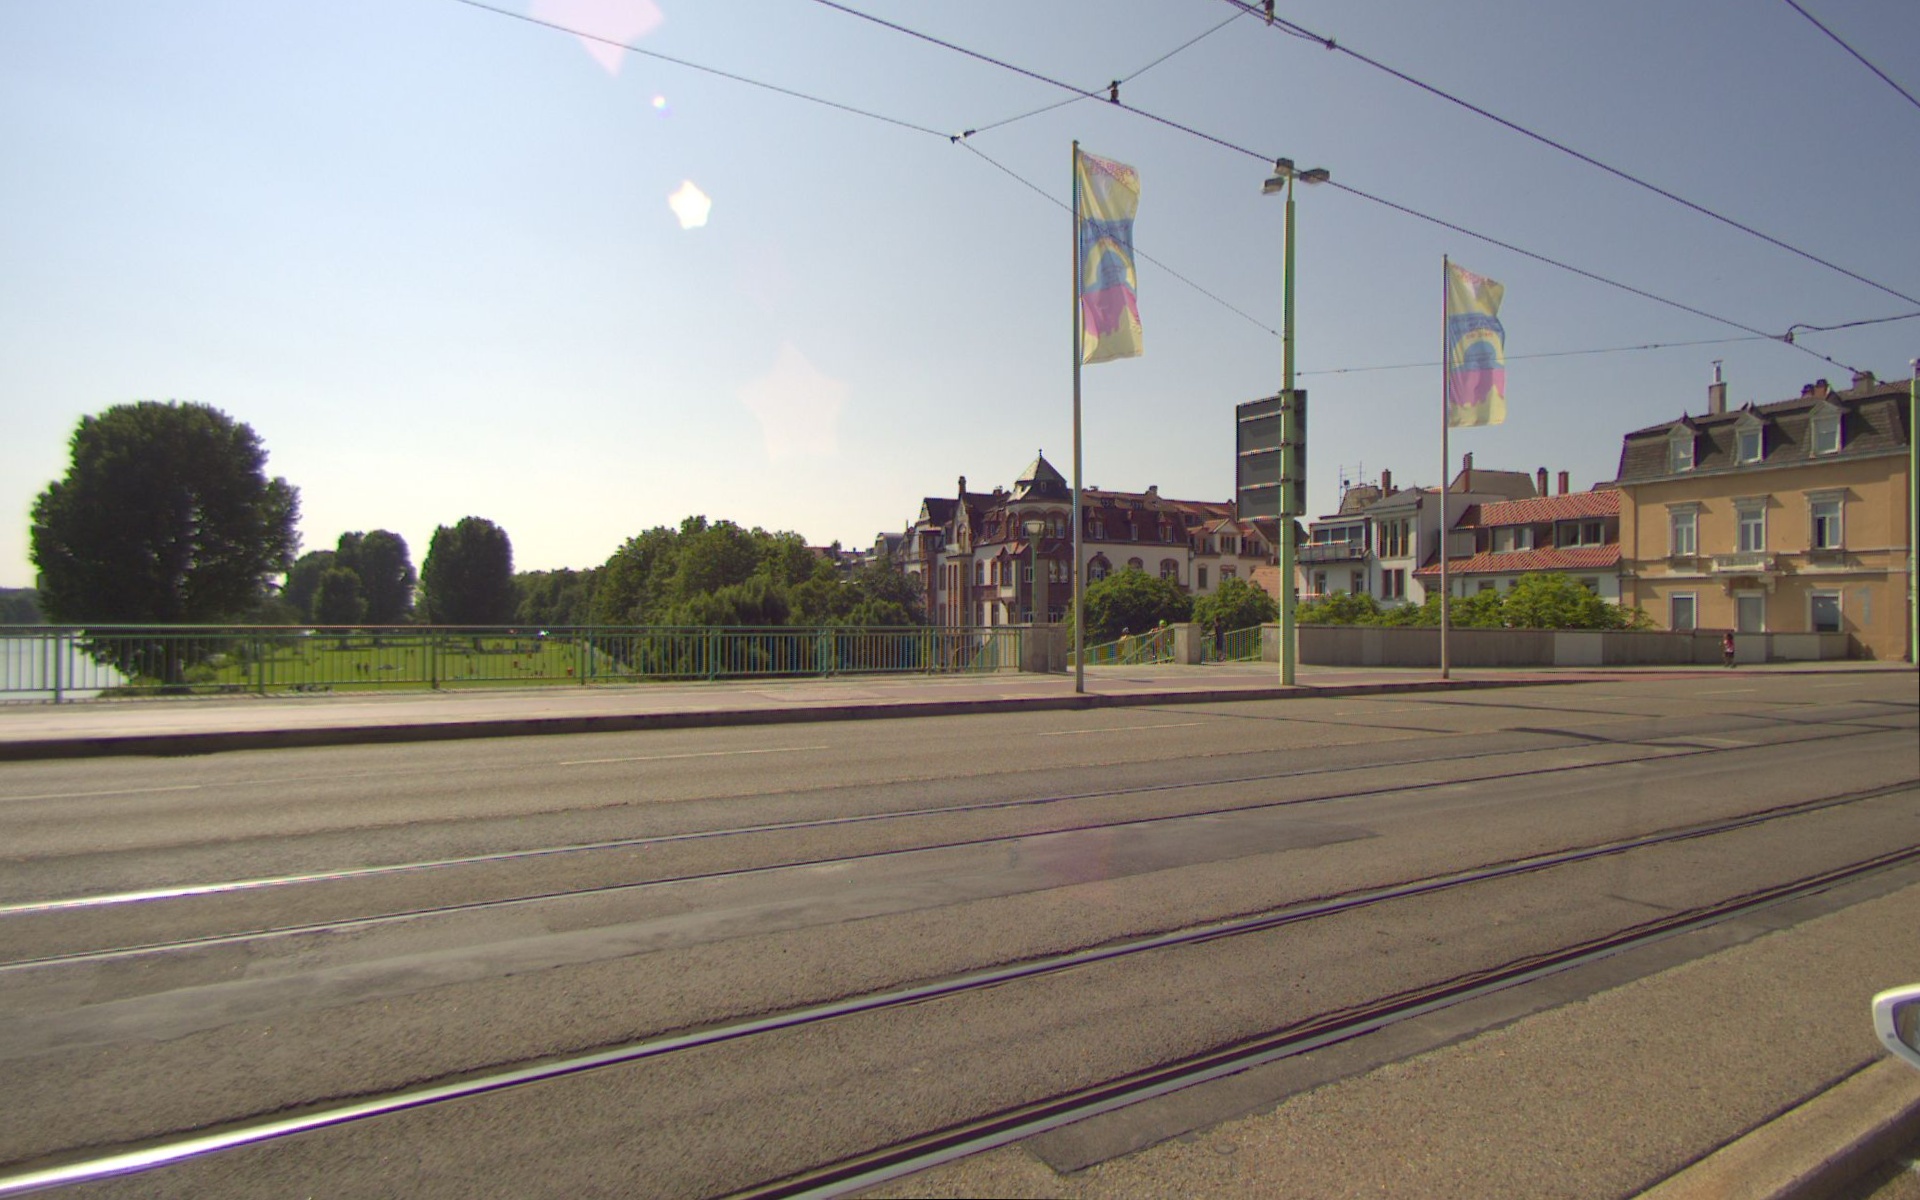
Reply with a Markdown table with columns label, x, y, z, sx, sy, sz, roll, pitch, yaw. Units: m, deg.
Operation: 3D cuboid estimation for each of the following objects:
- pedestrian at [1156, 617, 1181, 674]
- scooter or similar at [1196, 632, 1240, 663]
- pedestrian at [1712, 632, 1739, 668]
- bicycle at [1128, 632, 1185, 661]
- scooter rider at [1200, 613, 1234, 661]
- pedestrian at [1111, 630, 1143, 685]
| label | x | y | z | sx | sy | sz | roll | pitch | yaw |
| --- | --- | --- | --- | --- | --- | --- | --- | --- | --- |
| pedestrian | 6.311 | 1.366 | 30.390 | 0.408 | 1.654 | 0.623 | 1 | 2 | -28 |
| scooter or similar | 7.569 | 1.393 | 29.482 | 0.945 | 0.793 | 0.779 | 2 | 3 | -19 |
| pedestrian | 25.330 | 1.647 | 33.243 | 0.537 | 1.161 | 0.411 | 1 | 3 | -24 |
| bicycle | 5.889 | 1.382 | 30.190 | 0.614 | 0.726 | 1.919 | 0 | 1 | -28 |
| scooter rider | 7.551 | 1.072 | 29.504 | 0.589 | 1.333 | 0.767 | 2 | 3 | -18 |
| pedestrian | 5.585 | 1.898 | 33.630 | 0.790 | 1.804 | 0.743 | 1 | -1 | -24 |
